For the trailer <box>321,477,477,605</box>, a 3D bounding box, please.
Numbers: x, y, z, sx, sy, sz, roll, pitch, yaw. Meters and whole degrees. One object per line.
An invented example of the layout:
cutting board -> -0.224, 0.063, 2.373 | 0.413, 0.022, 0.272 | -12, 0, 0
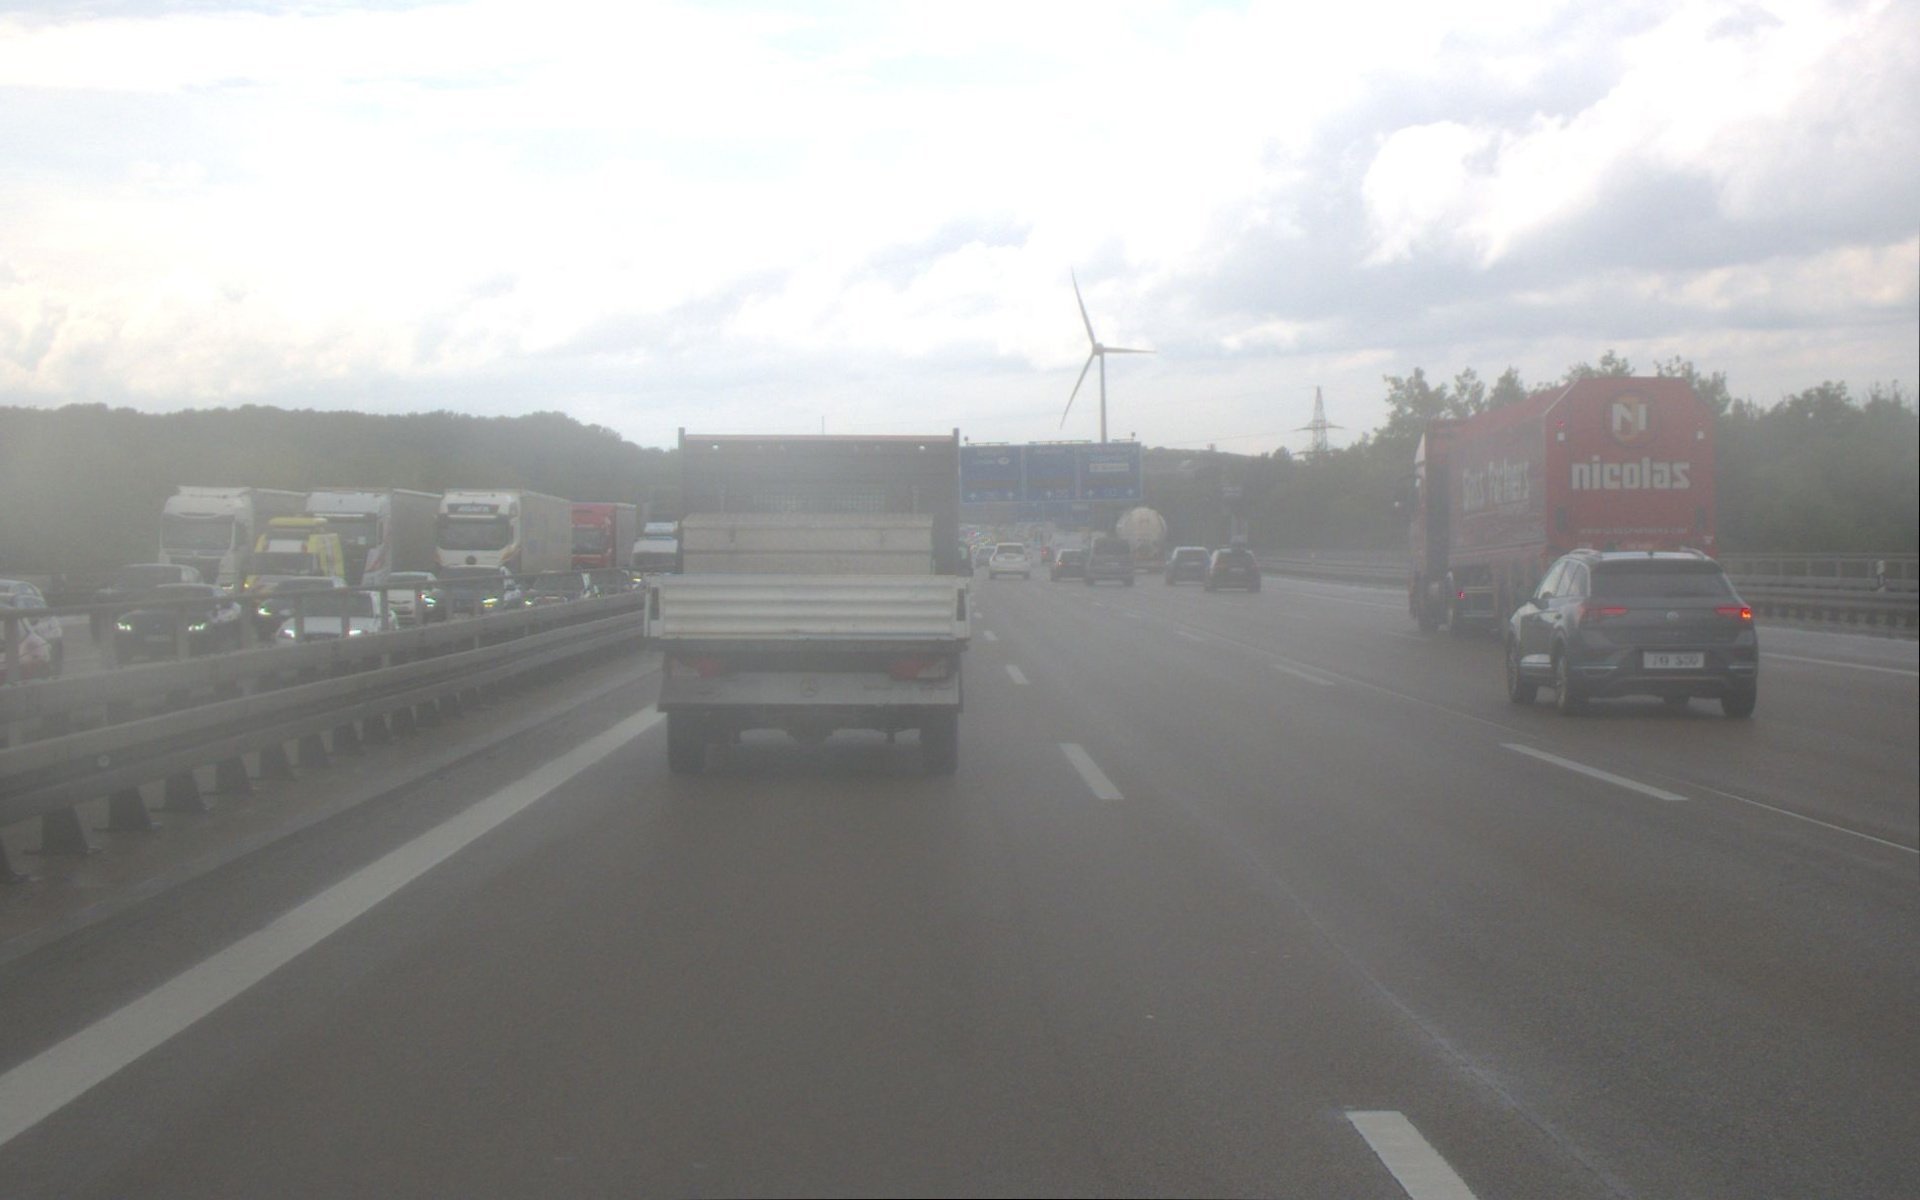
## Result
trailer -> -19.124, -2.014, 118.097 | 2.880, 4.131, 13.028 | -1, 1, 1

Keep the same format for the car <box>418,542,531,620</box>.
car -> -11.406, -0.478, 81.016 | 1.913, 1.760, 5.332 | -1, 1, 0

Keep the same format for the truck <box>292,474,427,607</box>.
truck -> -19.302, -1.906, 110.942 | 2.904, 4.133, 7.101 | -1, 1, 1

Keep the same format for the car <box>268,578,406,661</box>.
car -> -11.246, 0.320, 62.293 | 1.762, 1.378, 4.821 | -1, 1, -2

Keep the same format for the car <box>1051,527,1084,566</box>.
car -> 6.854, -3.406, 219.274 | 2.045, 2.489, 4.000 | 0, 1, 1

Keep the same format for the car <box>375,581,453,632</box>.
car -> -15.604, 0.173, 98.423 | 1.601, 1.382, 4.100 | -1, 1, 0

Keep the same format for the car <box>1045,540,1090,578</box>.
car -> 4.953, -1.911, 158.654 | 2.045, 1.693, 4.000 | 0, 1, 1

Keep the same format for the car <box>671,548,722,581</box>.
car -> -11.715, -1.574, 152.988 | 1.922, 1.414, 5.012 | -1, 1, 0

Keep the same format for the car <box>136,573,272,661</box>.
car -> -14.448, 0.293, 65.875 | 1.747, 1.571, 4.419 | -1, 1, -2

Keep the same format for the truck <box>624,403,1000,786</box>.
truck -> -1.057, -0.102, 25.458 | 2.353, 2.400, 7.359 | 1, 1, -2

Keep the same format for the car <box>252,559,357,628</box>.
car -> -15.609, -0.180, 82.101 | 1.747, 1.571, 4.690 | -1, 1, -2

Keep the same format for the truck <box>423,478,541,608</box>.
truck -> -15.915, -1.888, 115.039 | 2.880, 4.166, 7.557 | -1, 1, 0

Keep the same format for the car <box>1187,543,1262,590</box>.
car -> 9.428, -1.213, 122.880 | 2.105, 1.600, 5.066 | 0, 1, -2

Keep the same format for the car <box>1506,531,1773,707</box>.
car -> 6.362, 0.150, 32.545 | 1.792, 1.557, 3.722 | 0, 1, 0

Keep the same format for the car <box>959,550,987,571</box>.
car -> 0.926, -2.786, 243.911 | 1.812, 1.441, 4.000 | -1, 1, -1

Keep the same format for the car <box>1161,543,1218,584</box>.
car -> 9.713, -1.576, 145.812 | 2.045, 1.693, 5.007 | 0, 1, -1

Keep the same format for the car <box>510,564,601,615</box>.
car -> -11.727, -0.333, 99.910 | 2.015, 1.382, 5.459 | -1, 1, 0

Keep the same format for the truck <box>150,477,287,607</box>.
truck -> -23.649, -1.853, 109.945 | 2.759, 3.980, 6.576 | -1, 1, 1

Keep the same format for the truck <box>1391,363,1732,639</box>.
truck -> 9.700, -1.586, 57.692 | 3.152, 3.989, 15.637 | 0, 1, 1

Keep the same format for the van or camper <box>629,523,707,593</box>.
van or camper -> -10.890, -1.586, 128.737 | 2.278, 2.487, 7.303 | -1, 1, 0

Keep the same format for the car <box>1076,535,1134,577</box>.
car -> 5.956, -1.834, 141.336 | 2.097, 1.693, 4.000 | 0, 1, -2

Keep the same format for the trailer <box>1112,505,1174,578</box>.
trailer -> 10.780, -3.454, 203.731 | 3.333, 4.161, 11.838 | 1, 1, 2

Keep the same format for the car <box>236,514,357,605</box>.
car -> -18.940, -1.177, 98.416 | 2.156, 2.496, 6.773 | -1, 1, 0

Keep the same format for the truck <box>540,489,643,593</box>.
truck -> -15.414, -2.464, 144.634 | 2.984, 4.135, 12.523 | -1, 1, 0

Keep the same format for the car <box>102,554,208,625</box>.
car -> -18.850, -0.261, 80.629 | 1.533, 1.590, 4.000 | -1, 1, 0

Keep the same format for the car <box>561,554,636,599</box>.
car -> -11.770, -0.792, 112.174 | 1.922, 1.414, 5.165 | -1, 1, 0

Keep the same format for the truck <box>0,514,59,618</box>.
truck -> -22.974, -0.756, 77.972 | 2.680, 2.363, 9.275 | -1, 1, 0

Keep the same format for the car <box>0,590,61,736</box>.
car -> -10.925, 0.681, 35.893 | 1.994, 1.458, 4.842 | -1, 1, -3

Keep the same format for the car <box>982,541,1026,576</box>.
car -> 2.118, -2.037, 167.487 | 1.972, 1.693, 4.000 | 0, 1, -2
